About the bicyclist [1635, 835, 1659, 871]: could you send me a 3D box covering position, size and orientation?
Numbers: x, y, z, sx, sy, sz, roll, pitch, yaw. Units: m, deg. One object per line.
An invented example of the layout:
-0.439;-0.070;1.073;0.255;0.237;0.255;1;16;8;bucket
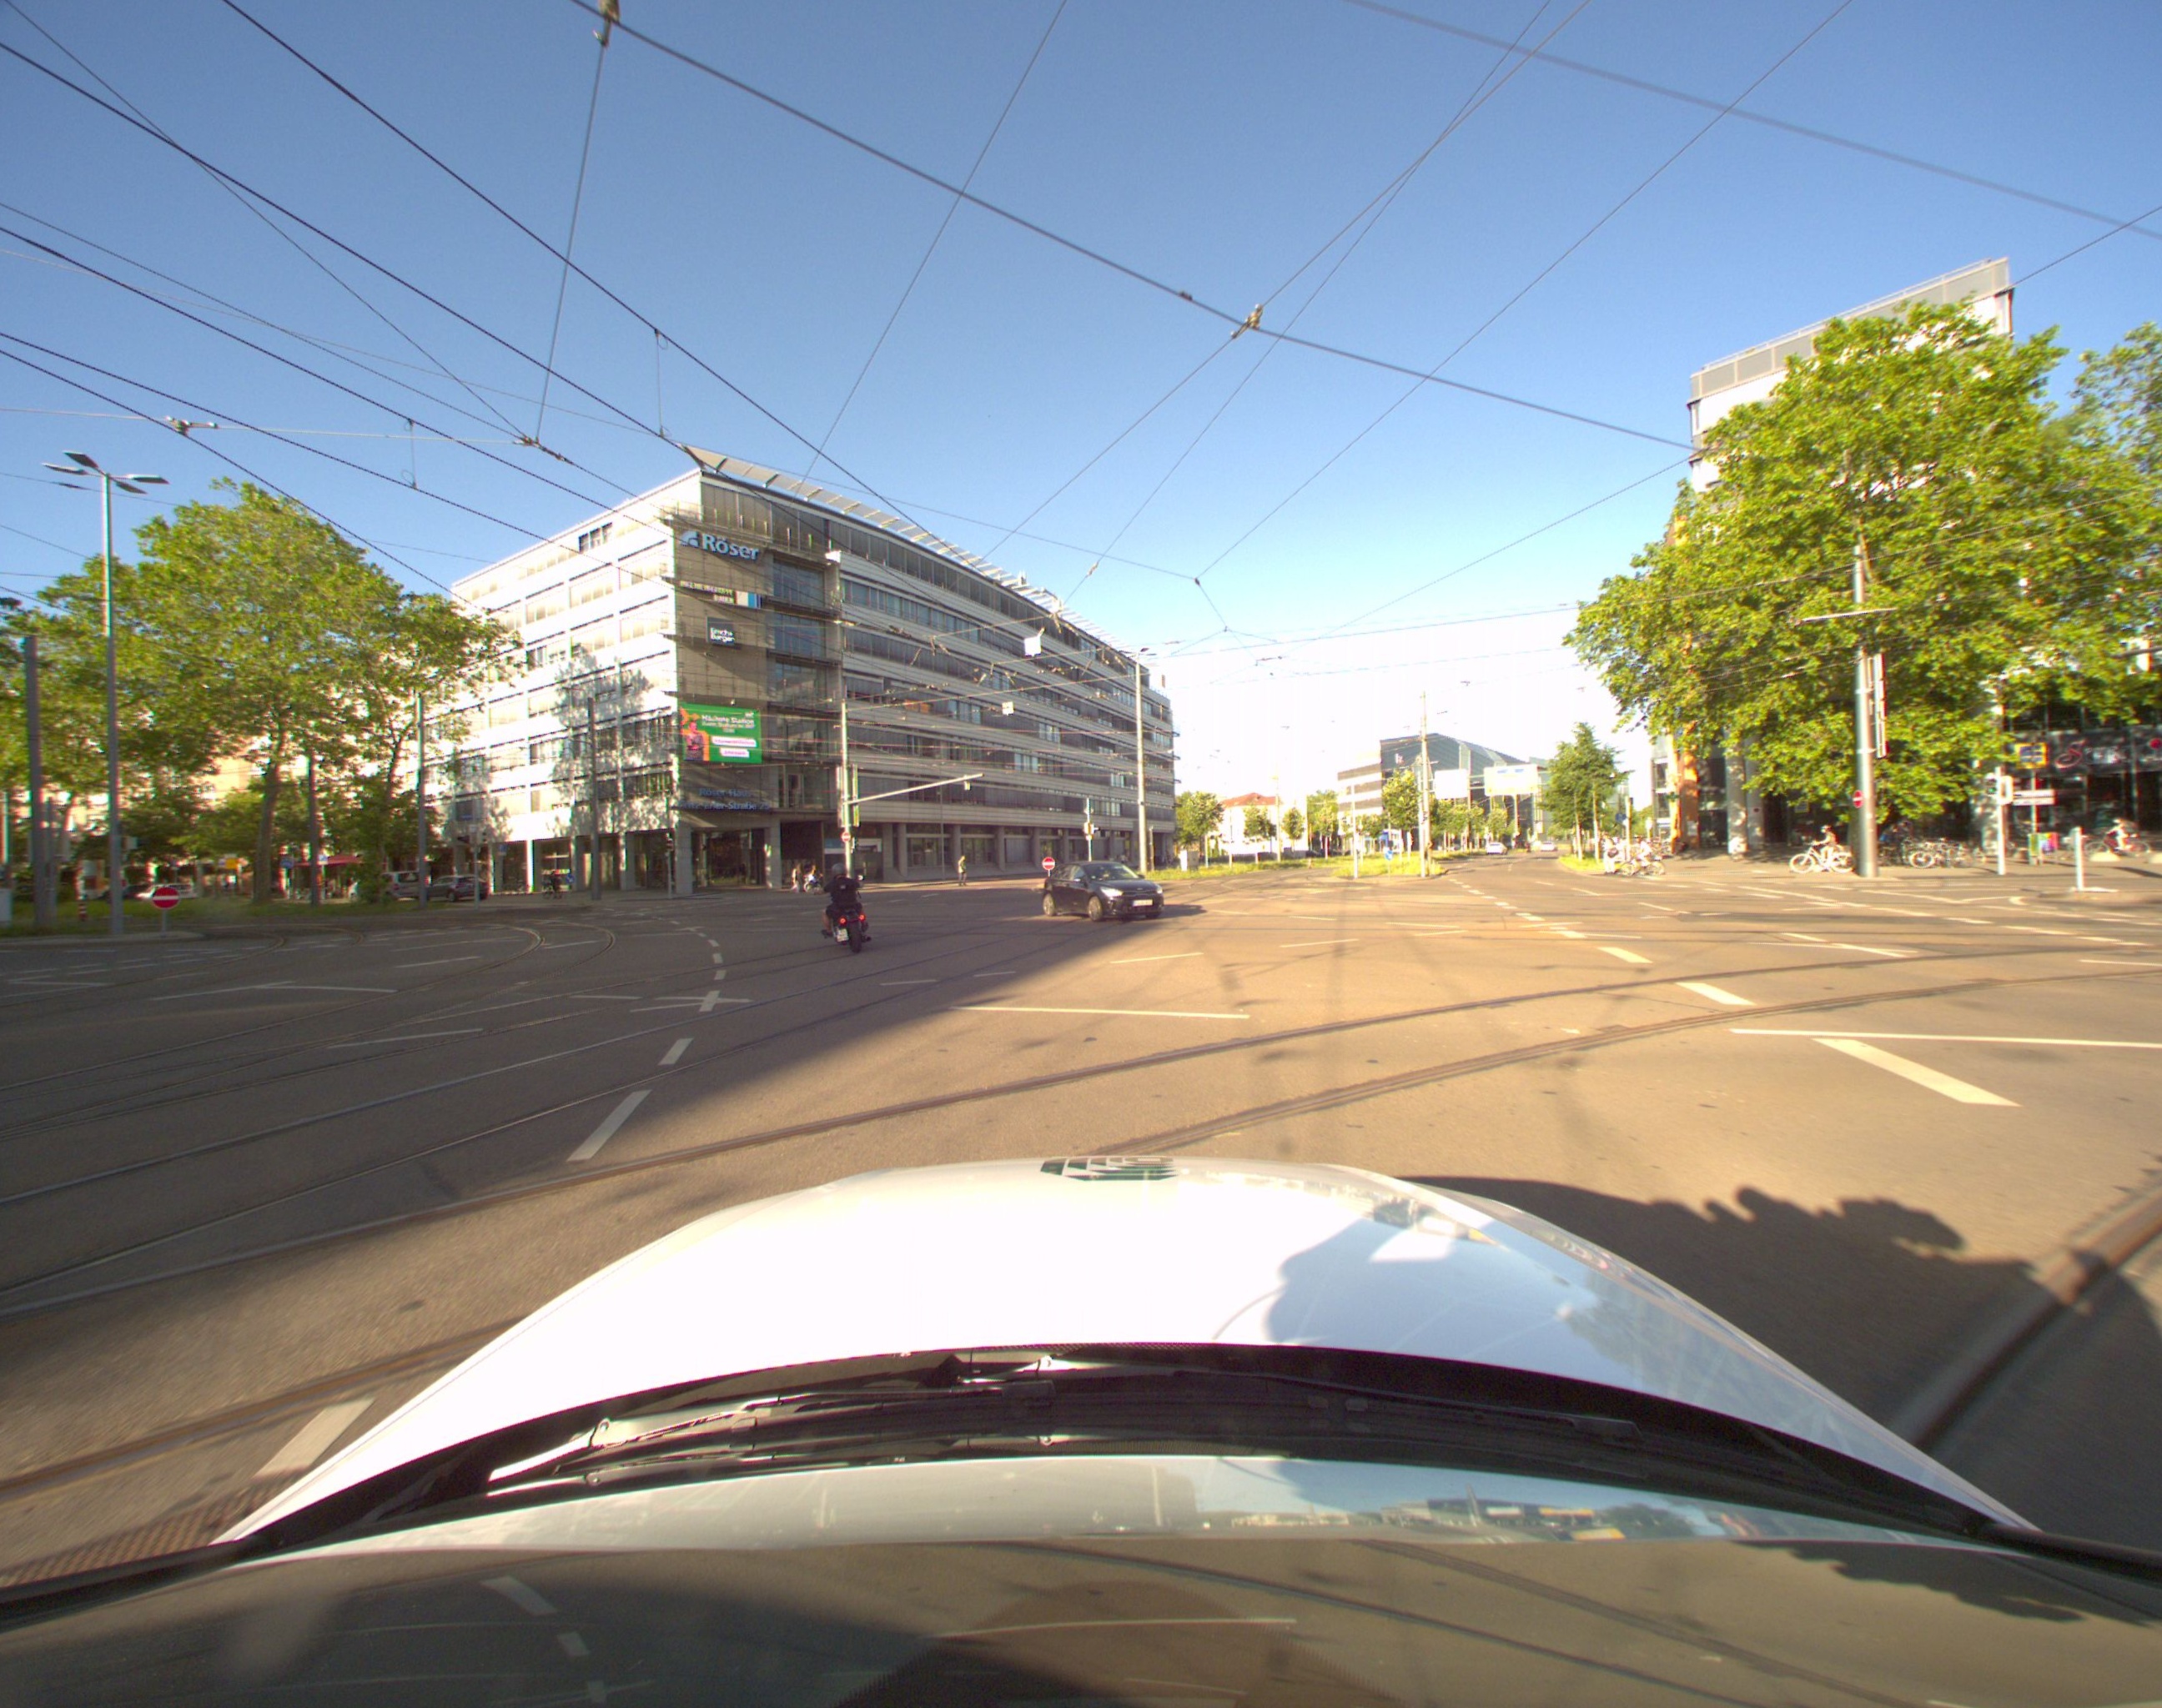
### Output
24.153;-0.059;34.768;0.735;1.503;0.573;-2;-1;28;bicyclist

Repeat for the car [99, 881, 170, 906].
-69.842;2.895;60.093;4.038;1.629;2.004;-2;1;20;car

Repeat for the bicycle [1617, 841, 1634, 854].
49.055;-0.620;73.378;1.030;1.133;3.200;-2;0;30;bicycle

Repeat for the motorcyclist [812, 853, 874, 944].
-4.363;0.772;14.887;1.025;1.552;1.278;-1;0;-19;motorcyclist

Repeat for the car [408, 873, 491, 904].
-37.107;2.030;47.867;4.361;1.572;1.876;-2;2;23;car

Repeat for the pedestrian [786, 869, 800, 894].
-16.809;1.591;47.578;0.636;1.402;0.544;-1;0;-10;pedestrian

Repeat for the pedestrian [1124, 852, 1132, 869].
5.084;0.705;87.933;0.543;1.733;0.645;-2;0;25;pedestrian

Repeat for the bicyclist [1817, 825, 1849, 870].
28.702;-0.252;31.096;0.735;1.694;0.573;-2;-1;30;bicyclist

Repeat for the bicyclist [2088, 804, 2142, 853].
42.692;-1.042;33.639;1.215;1.931;0.840;-2;0;40;bicyclist

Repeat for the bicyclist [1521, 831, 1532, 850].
60.187;-1.832;110.040;1.006;2.624;1.481;-2;0;38;bicyclist

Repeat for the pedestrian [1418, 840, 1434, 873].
16.627;0.122;39.257;0.651;1.582;0.492;-1;0;23;pedestrian

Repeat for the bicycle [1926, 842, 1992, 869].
34.258;0.069;31.803;1.688;0.986;0.393;-2;0;33;bicycle

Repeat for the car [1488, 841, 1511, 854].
49.054;-0.736;95.365;1.883;1.508;4.025;0;0;34;car

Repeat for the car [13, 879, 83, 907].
-80.848;3.066;63.734;4.363;1.976;2.047;-2;1;19;car

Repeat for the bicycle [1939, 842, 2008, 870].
33.514;0.088;30.605;1.688;0.986;0.393;-2;0;33;bicycle

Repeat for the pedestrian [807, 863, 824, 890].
-16.276;1.399;49.954;0.714;1.617;0.659;-2;-1;28;pedestrian

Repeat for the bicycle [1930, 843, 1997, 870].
34.004;0.111;31.393;1.688;0.986;0.393;-2;0;33;bicycle

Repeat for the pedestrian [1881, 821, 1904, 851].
42.059;-0.938;42.210;0.567;1.527;0.769;-1;-1;-45;pedestrian

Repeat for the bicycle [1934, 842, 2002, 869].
33.756;0.072;31.021;1.688;0.986;0.393;-2;0;33;bicycle

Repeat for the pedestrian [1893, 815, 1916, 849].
45.287;-1.210;44.816;0.839;1.852;0.814;1;1;44;pedestrian

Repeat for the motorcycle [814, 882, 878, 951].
-4.351;1.104;14.944;1.009;1.125;2.307;-1;-2;-19;motorcycle

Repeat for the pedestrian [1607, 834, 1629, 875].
24.275;0.024;36.803;0.517;1.837;0.695;0;0;-35;pedestrian

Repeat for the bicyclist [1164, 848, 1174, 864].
9.093;0.174;83.993;0.757;1.667;0.999;-1;0;21;bicyclist

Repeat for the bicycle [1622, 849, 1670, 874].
24.123;0.316;34.793;1.612;1.021;0.519;-2;-1;28;bicycle

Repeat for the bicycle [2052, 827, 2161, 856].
42.627;-0.499;33.694;3.011;1.113;0.840;-1;0;40;bicycle

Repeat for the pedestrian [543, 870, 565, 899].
-30.304;1.762;46.861;0.828;1.610;0.610;-1;3;19;pedestrian

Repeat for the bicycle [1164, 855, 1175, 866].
9.111;0.670;84.001;0.637;1.107;1.694;-1;0;21;bicycle

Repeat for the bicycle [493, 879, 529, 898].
-36.853;2.220;52.695;0.464;1.151;1.850;-1;1;26;bicycle

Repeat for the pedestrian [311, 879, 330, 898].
-63.645;2.851;68.175;0.981;1.546;0.878;-2;-1;26;pedestrian

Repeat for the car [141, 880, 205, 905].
-64.531;2.716;57.874;3.821;1.638;1.876;-2;0;23;car

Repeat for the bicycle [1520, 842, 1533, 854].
60.214;-0.864;110.088;1.006;1.579;3.597;-2;0;38;bicycle

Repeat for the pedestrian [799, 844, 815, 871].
-18.138;0.228;53.954;0.637;1.715;0.694;-2;0;31;pedestrian

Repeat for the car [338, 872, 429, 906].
-42.517;2.149;49.636;4.867;1.843;1.939;-2;2;20;car

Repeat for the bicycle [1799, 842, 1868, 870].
28.699;0.080;31.090;1.835;1.021;0.519;-2;-1;30;bicycle

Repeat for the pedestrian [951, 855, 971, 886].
-7.204;0.983;49.001;0.874;1.823;0.681;-3;-1;24;pedestrian

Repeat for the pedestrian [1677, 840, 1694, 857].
40.190;-0.368;54.157;0.776;1.057;0.819;-2;0;42;pedestrian

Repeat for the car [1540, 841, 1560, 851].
68.786;-1.126;119.426;1.996;1.376;4.064;-2;0;38;car

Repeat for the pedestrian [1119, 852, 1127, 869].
4.567;0.708;88.179;0.543;1.733;0.645;-2;0;25;pedestrian

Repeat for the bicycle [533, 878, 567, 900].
-30.482;1.988;46.723;1.826;1.163;0.616;0;3;20;bicycle

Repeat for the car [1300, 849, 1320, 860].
45.127;0.096;160.425;1.998;2.013;3.977;-2;0;-17;car

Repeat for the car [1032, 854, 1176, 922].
0.451;0.793;20.732;1.801;1.466;4.273;-2;0;-27;car

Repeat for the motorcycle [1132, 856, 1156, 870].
5.959;0.878;77.027;0.974;1.232;2.961;-2;0;30;motorcycle

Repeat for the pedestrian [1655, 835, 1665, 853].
52.702;-0.928;74.157;0.699;1.569;0.627;-2;0;36;pedestrian

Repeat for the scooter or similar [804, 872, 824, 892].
-15.975;1.658;48.678;1.015;1.129;0.548;-2;0;-10;scooter or similar

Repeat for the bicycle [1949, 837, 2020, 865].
33.128;-0.112;29.888;1.688;0.986;0.393;-2;0;33;bicycle

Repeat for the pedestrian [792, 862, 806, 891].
-16.801;1.353;48.524;0.636;1.708;0.579;-1;0;-10;pedestrian

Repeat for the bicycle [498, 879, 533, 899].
-36.426;2.218;52.493;0.464;1.151;1.850;-1;1;26;bicycle
